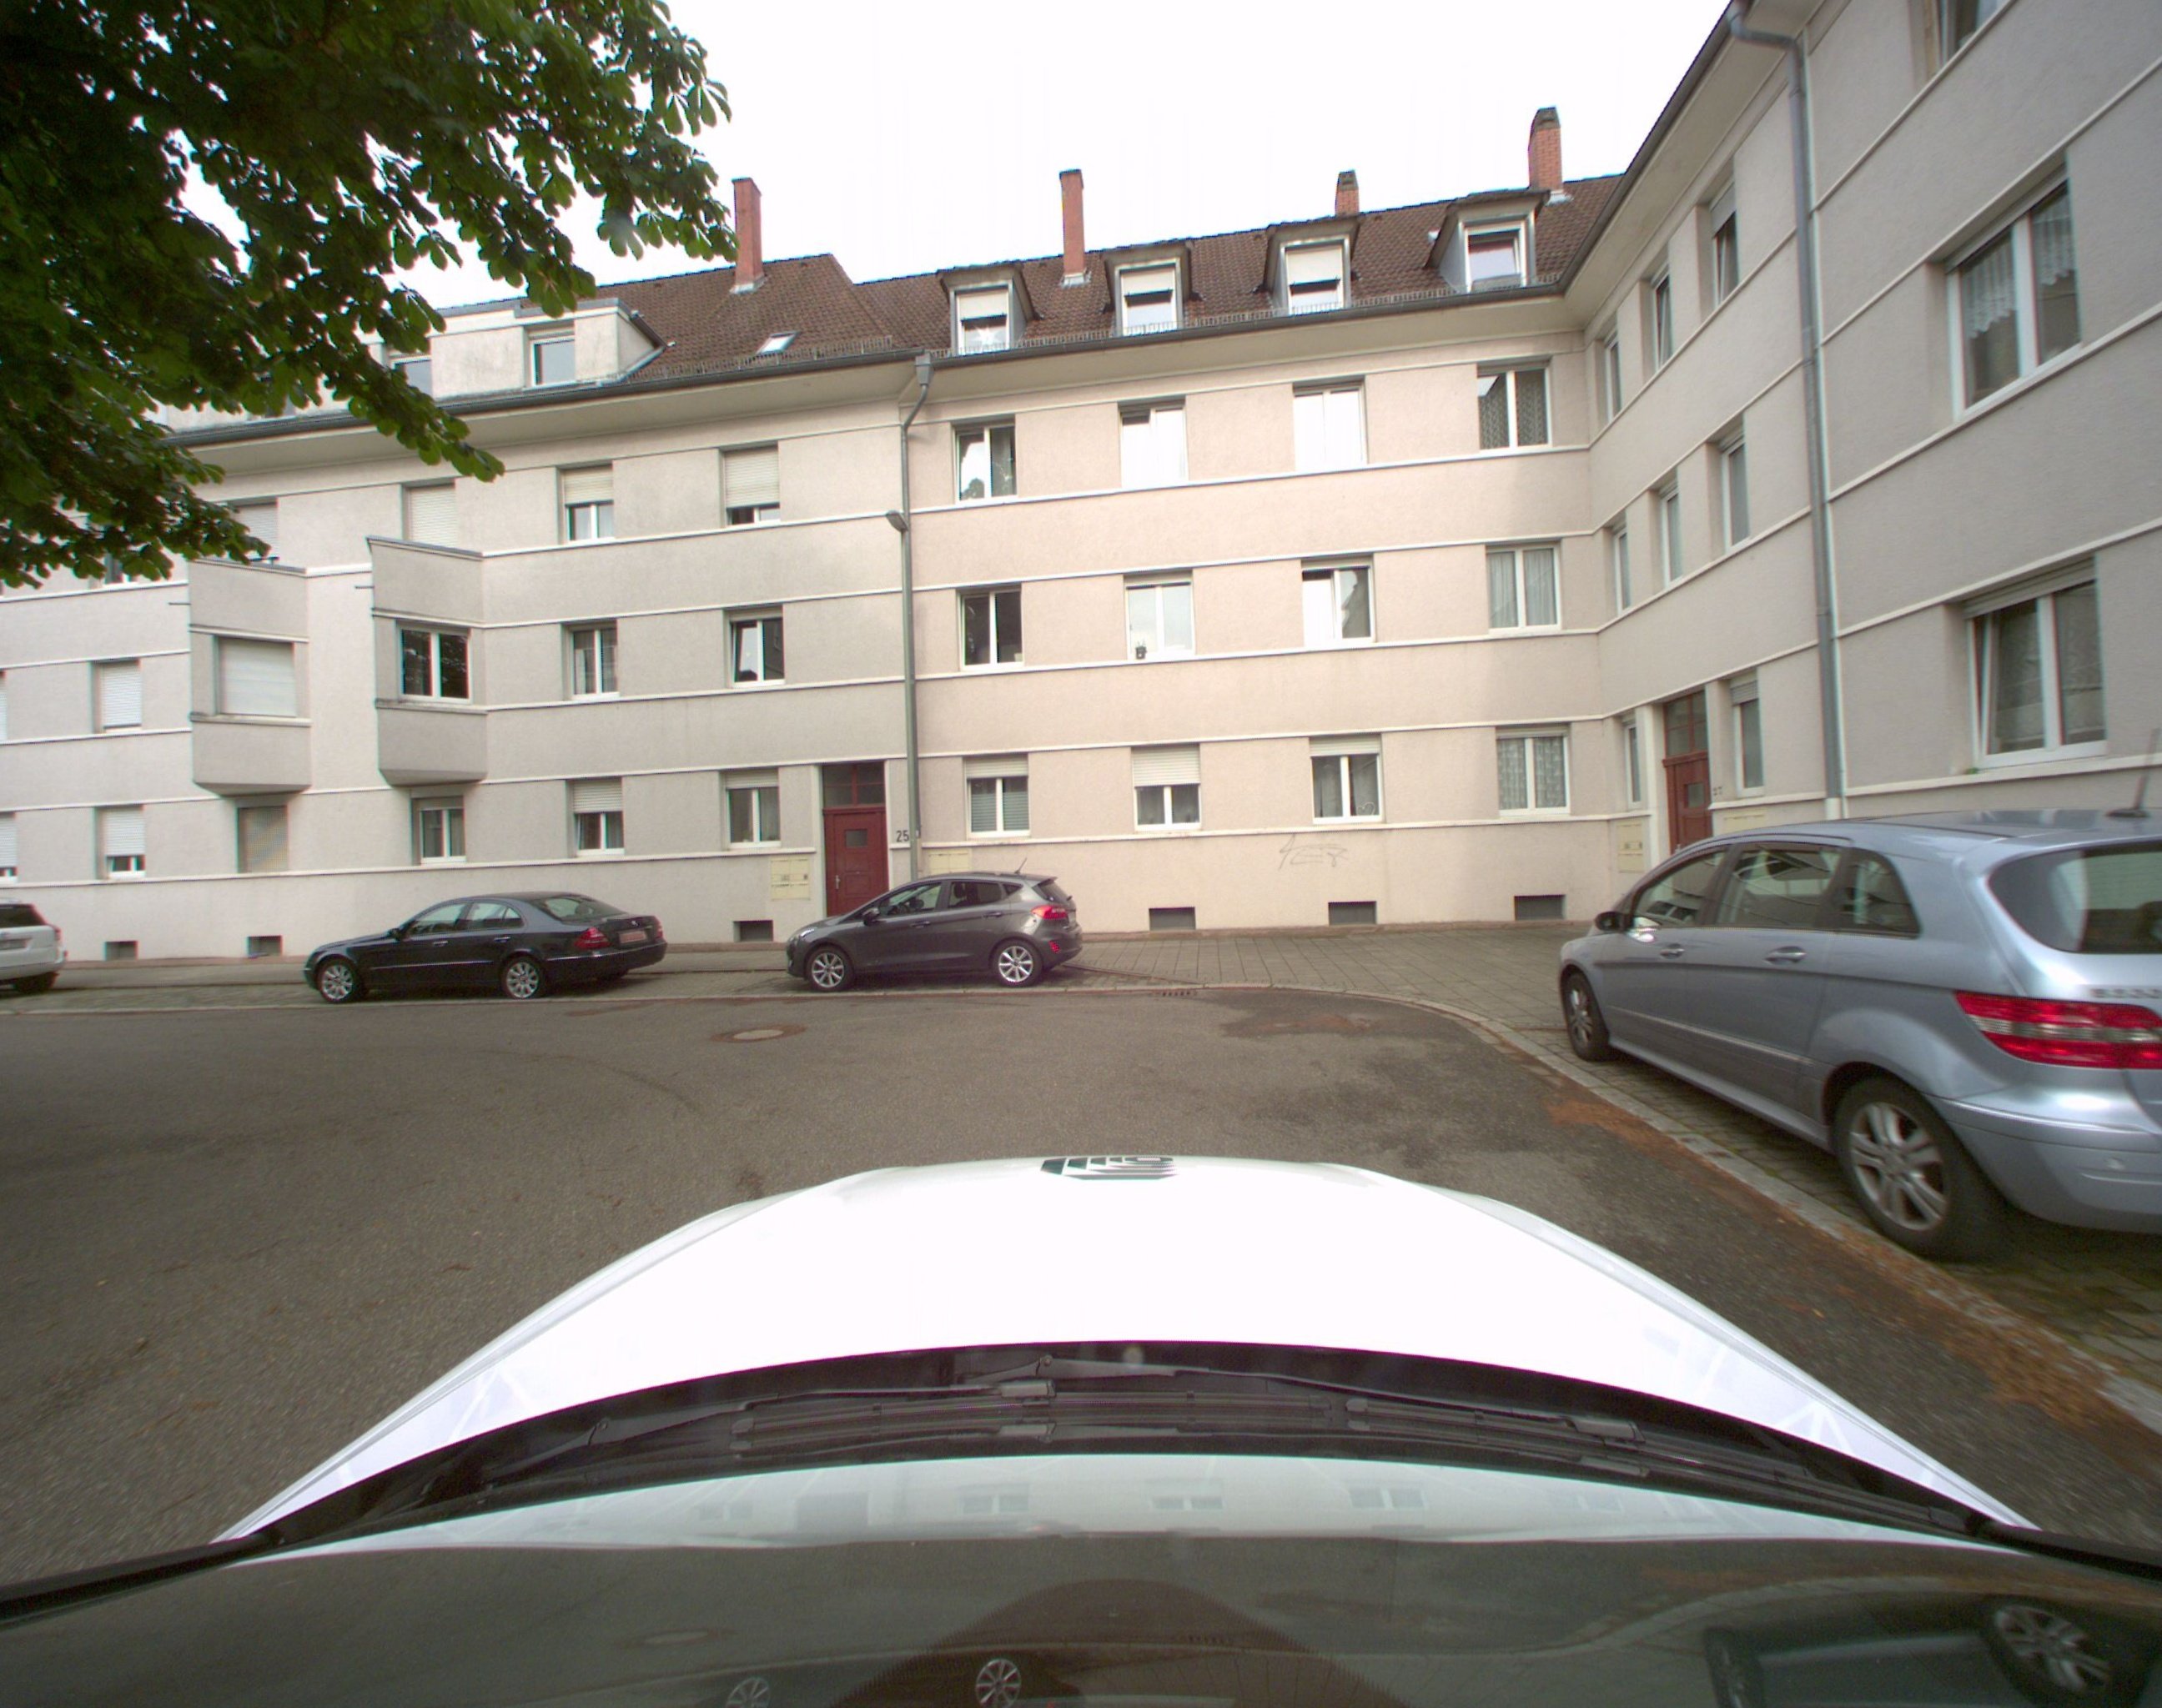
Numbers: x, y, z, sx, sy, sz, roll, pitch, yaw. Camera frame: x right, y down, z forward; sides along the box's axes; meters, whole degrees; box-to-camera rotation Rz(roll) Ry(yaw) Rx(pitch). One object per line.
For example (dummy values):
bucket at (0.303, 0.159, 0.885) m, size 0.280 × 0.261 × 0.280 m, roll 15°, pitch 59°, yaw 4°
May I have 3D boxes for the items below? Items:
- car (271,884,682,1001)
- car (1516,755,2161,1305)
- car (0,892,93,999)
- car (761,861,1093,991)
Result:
car at (-8.707, 1.256, 11.939) m, size 4.907 × 1.421 × 1.754 m, roll -2°, pitch 0°, yaw 7°
car at (4.019, 0.525, 4.406) m, size 1.745 × 1.628 × 4.213 m, roll -2°, pitch -1°, yaw 11°
car at (-19.809, 1.602, 13.761) m, size 4.253 × 1.673 × 1.852 m, roll -2°, pitch 0°, yaw 6°
car at (-1.971, 0.932, 11.137) m, size 4.044 × 1.525 × 1.766 m, roll -2°, pitch 0°, yaw 7°
